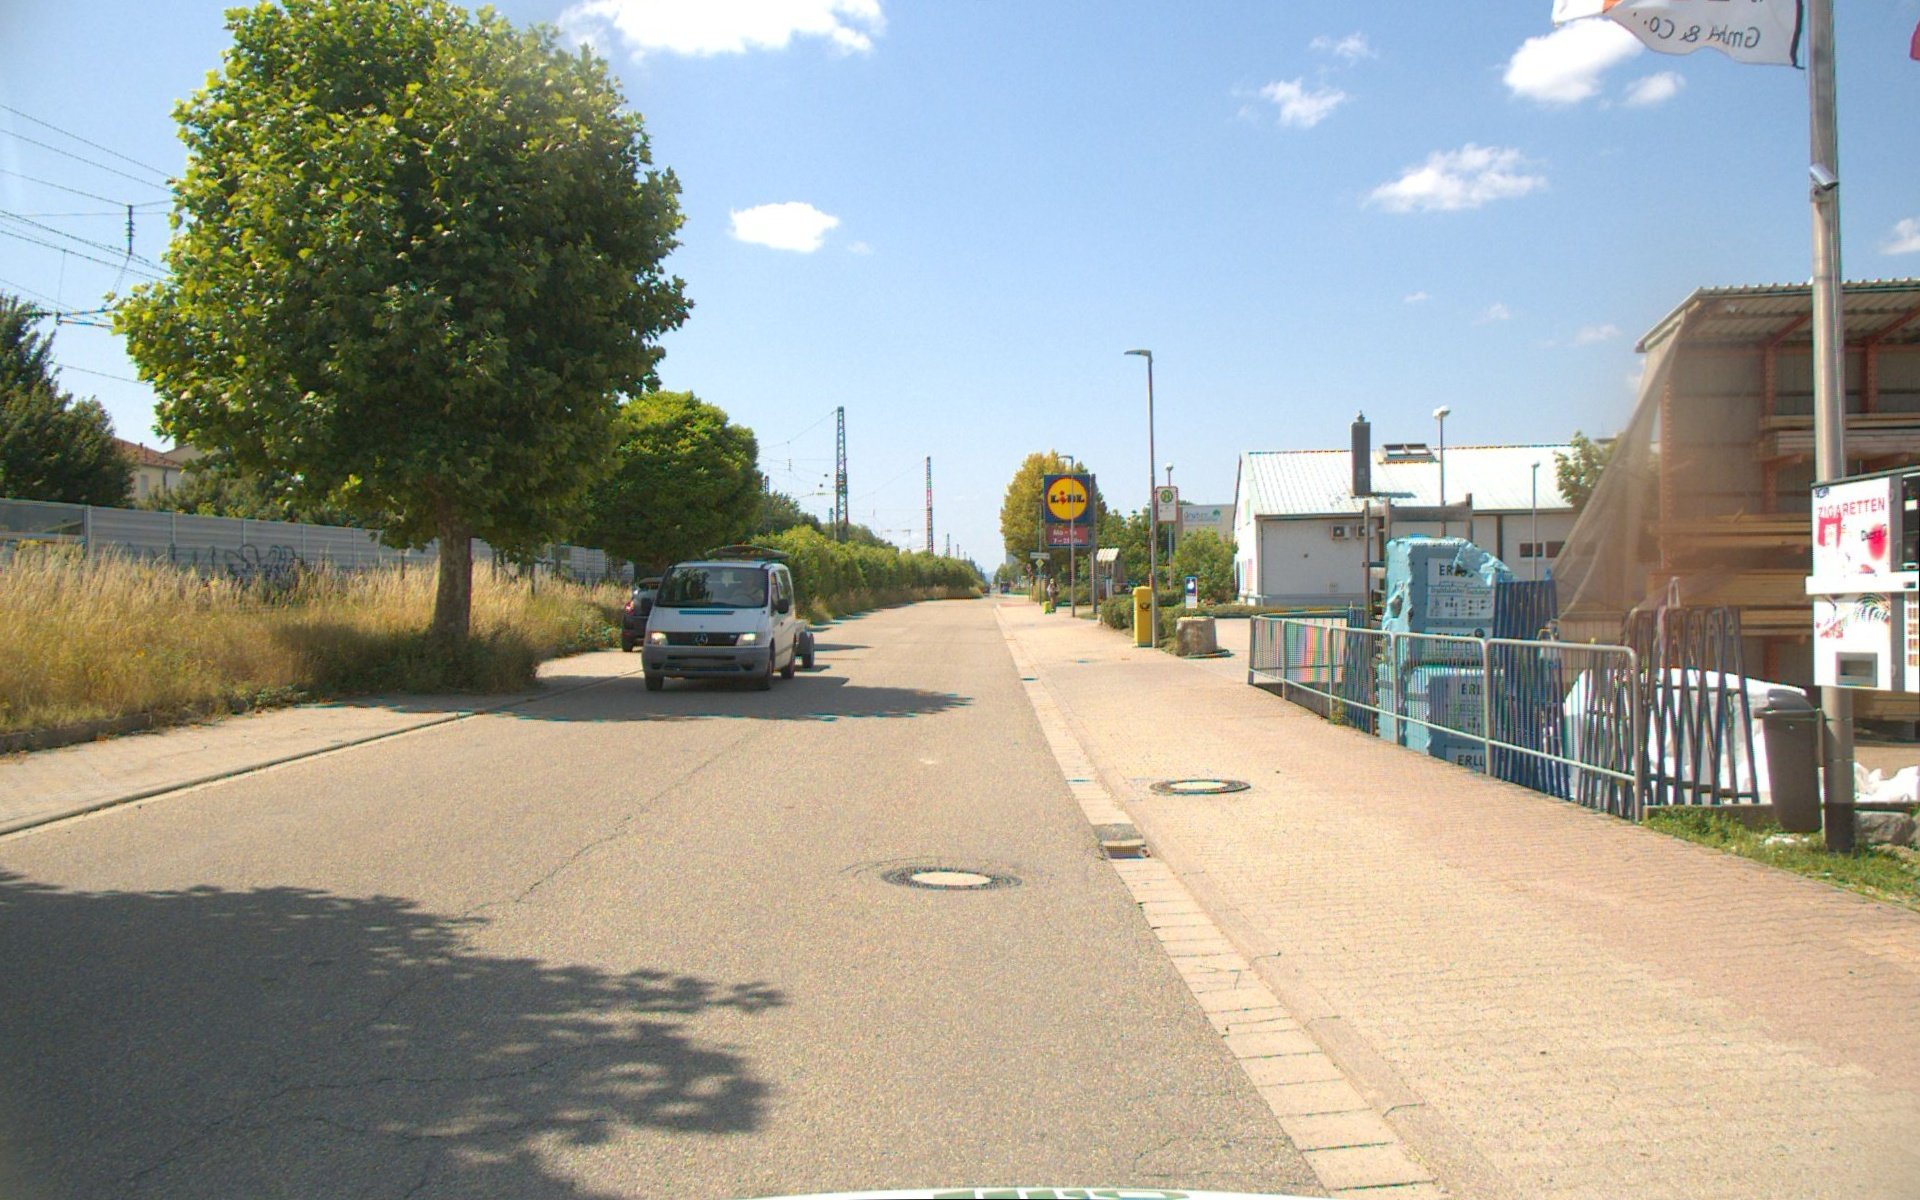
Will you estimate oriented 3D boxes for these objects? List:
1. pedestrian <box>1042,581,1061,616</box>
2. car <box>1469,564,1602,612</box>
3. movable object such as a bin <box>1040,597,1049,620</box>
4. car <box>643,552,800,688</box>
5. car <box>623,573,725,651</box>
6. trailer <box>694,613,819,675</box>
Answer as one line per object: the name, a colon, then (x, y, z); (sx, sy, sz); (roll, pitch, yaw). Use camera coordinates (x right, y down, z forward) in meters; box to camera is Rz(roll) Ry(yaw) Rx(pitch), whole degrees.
pedestrian: (4.265, -0.069, 77.332); (0.746, 1.630, 1.210); (-1, 0, -2)
car: (19.154, -0.410, 55.198); (3.902, 1.520, 2.002); (-1, 1, 9)
movable object such as a bin: (3.917, 0.404, 76.835); (0.367, 1.048, 0.498); (-1, 0, -4)
car: (-3.536, 0.263, 25.252); (1.801, 1.890, 4.483); (0, 0, -1)
car: (-6.246, 0.238, 36.424); (1.706, 1.624, 3.578); (0, 1, -2)
trailer: (-3.569, 0.751, 29.661); (1.781, 0.865, 4.222); (-2, 1, -1)
